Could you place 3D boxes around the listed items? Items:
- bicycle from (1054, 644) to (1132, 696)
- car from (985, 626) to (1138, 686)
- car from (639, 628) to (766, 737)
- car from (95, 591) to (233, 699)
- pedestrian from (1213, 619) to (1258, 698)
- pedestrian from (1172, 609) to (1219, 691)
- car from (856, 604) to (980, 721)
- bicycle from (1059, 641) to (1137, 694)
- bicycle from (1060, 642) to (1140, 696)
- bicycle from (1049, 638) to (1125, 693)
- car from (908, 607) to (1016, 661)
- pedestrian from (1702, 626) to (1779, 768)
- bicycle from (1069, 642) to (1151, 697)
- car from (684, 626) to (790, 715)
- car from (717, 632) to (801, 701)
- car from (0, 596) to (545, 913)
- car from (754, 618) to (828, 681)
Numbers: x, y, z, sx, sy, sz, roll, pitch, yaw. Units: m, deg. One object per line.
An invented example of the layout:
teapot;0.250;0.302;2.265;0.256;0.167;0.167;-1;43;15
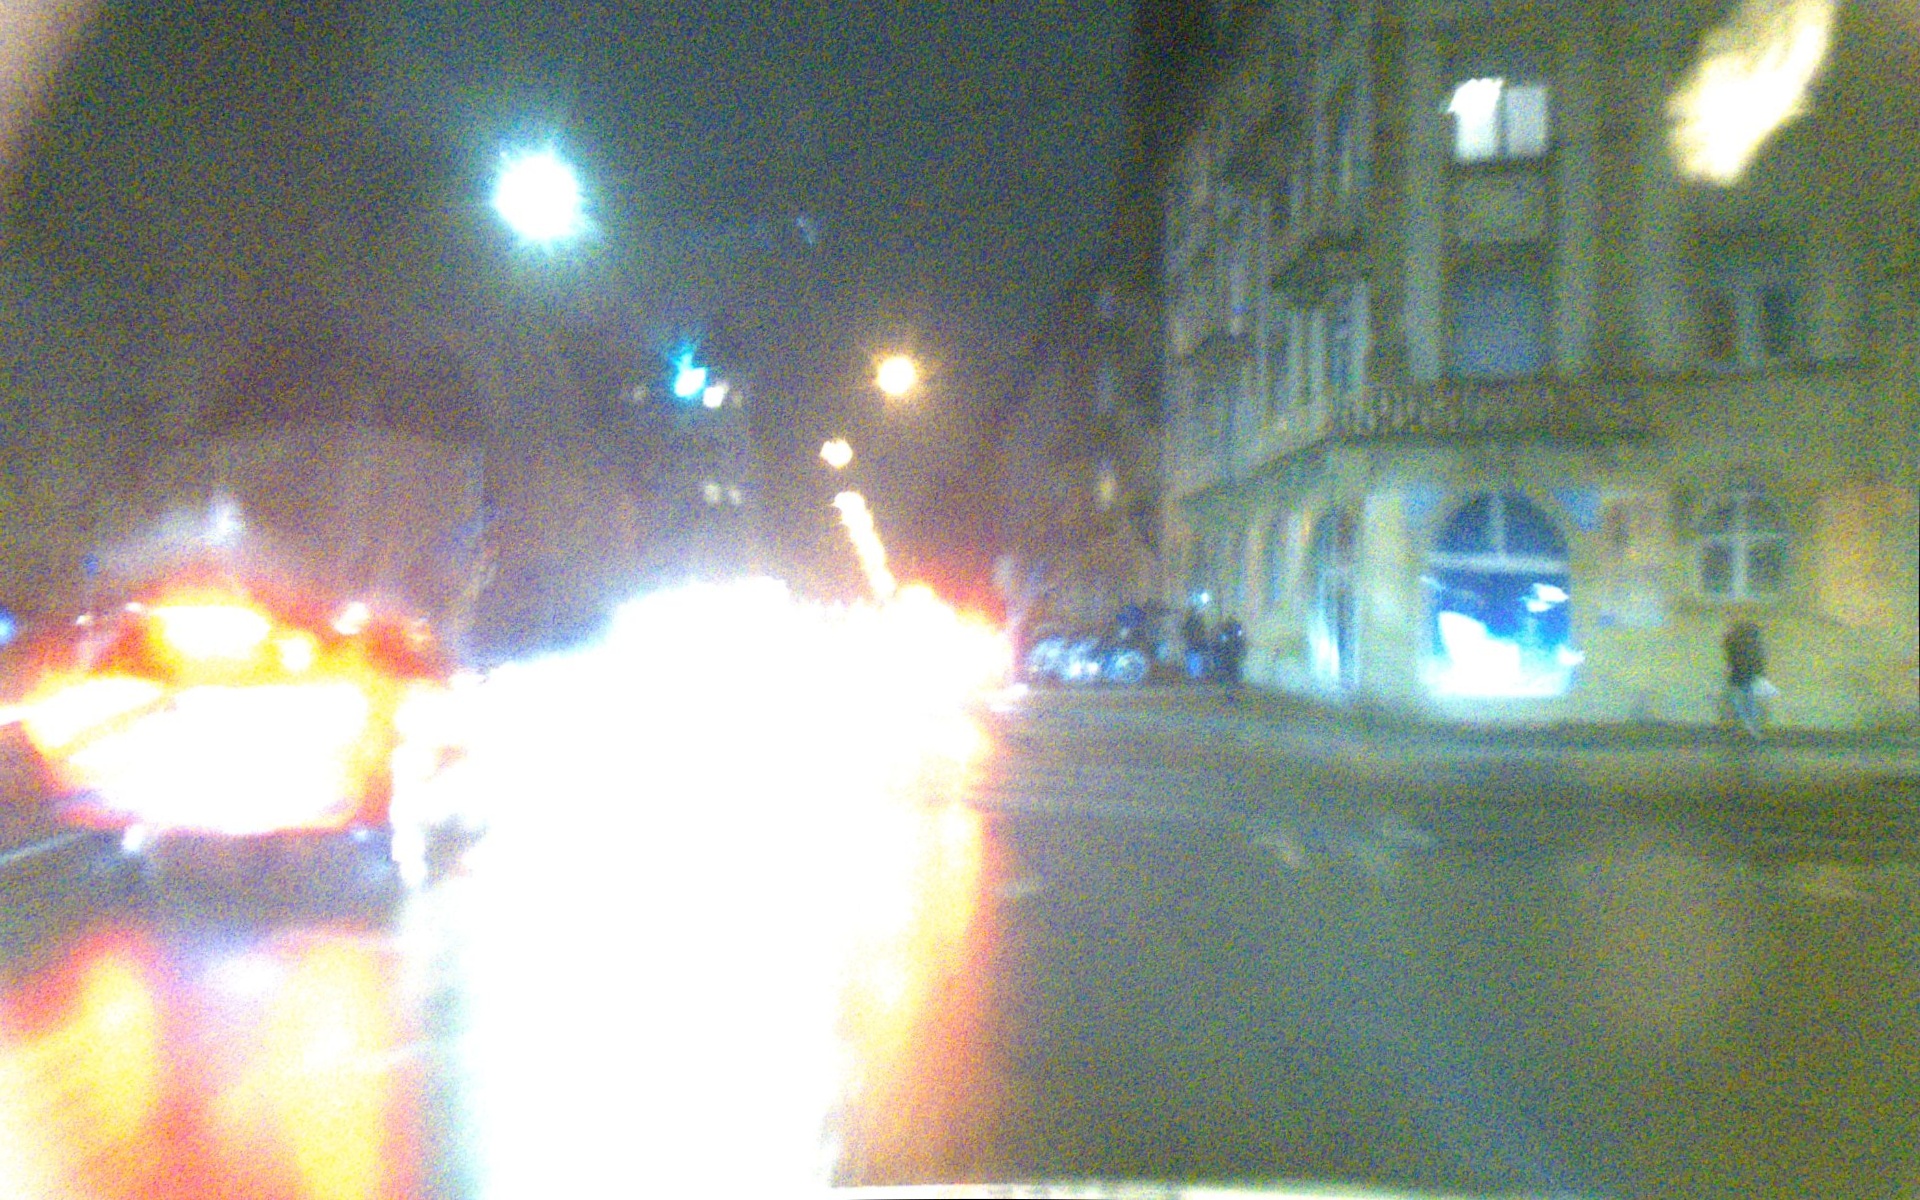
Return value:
bicycle;3.389;1.773;42.155;1.861;1.273;0.595;-1;-1;-8
car;2.854;1.524;45.890;4.148;1.483;1.830;-1;0;-41
car;-3.986;1.240;26.129;1.673;1.569;3.984;1;-1;-5
car;-14.451;0.776;30.229;1.864;1.812;4.306;0;-1;-21
pedestrian;5.829;1.230;35.021;0.765;1.646;0.999;0;-1;-2
pedestrian;5.621;1.186;39.551;0.938;1.915;0.999;0;-1;-2
car;-0.812;1.099;30.602;2.124;2.006;4.299;0;-1;-3
bicycle;3.461;1.680;41.518;1.861;1.273;0.595;-1;-1;-8
bicycle;3.466;1.706;40.872;1.861;1.273;0.595;-1;-1;-8
bicycle;3.290;1.690;42.924;1.861;1.384;0.595;-1;-1;-8
car;0.116;1.592;78.669;4.965;2.433;2.108;-1;0;-41
pedestrian;11.847;1.446;25.128;0.953;2.048;1.016;0;2;19
bicycle;3.617;1.671;39.965;1.861;1.273;0.709;-1;-1;-8
car;-4.251;1.312;32.006;1.635;1.589;4.005;1;-1;-2
car;-4.530;1.480;37.750;1.635;1.445;4.094;1;-1;-3
car;-4.014;0.807;10.604;1.782;1.569;4.722;1;-1;-4
car;-4.533;1.301;44.817;1.752;1.581;4.851;1;-1;-3
